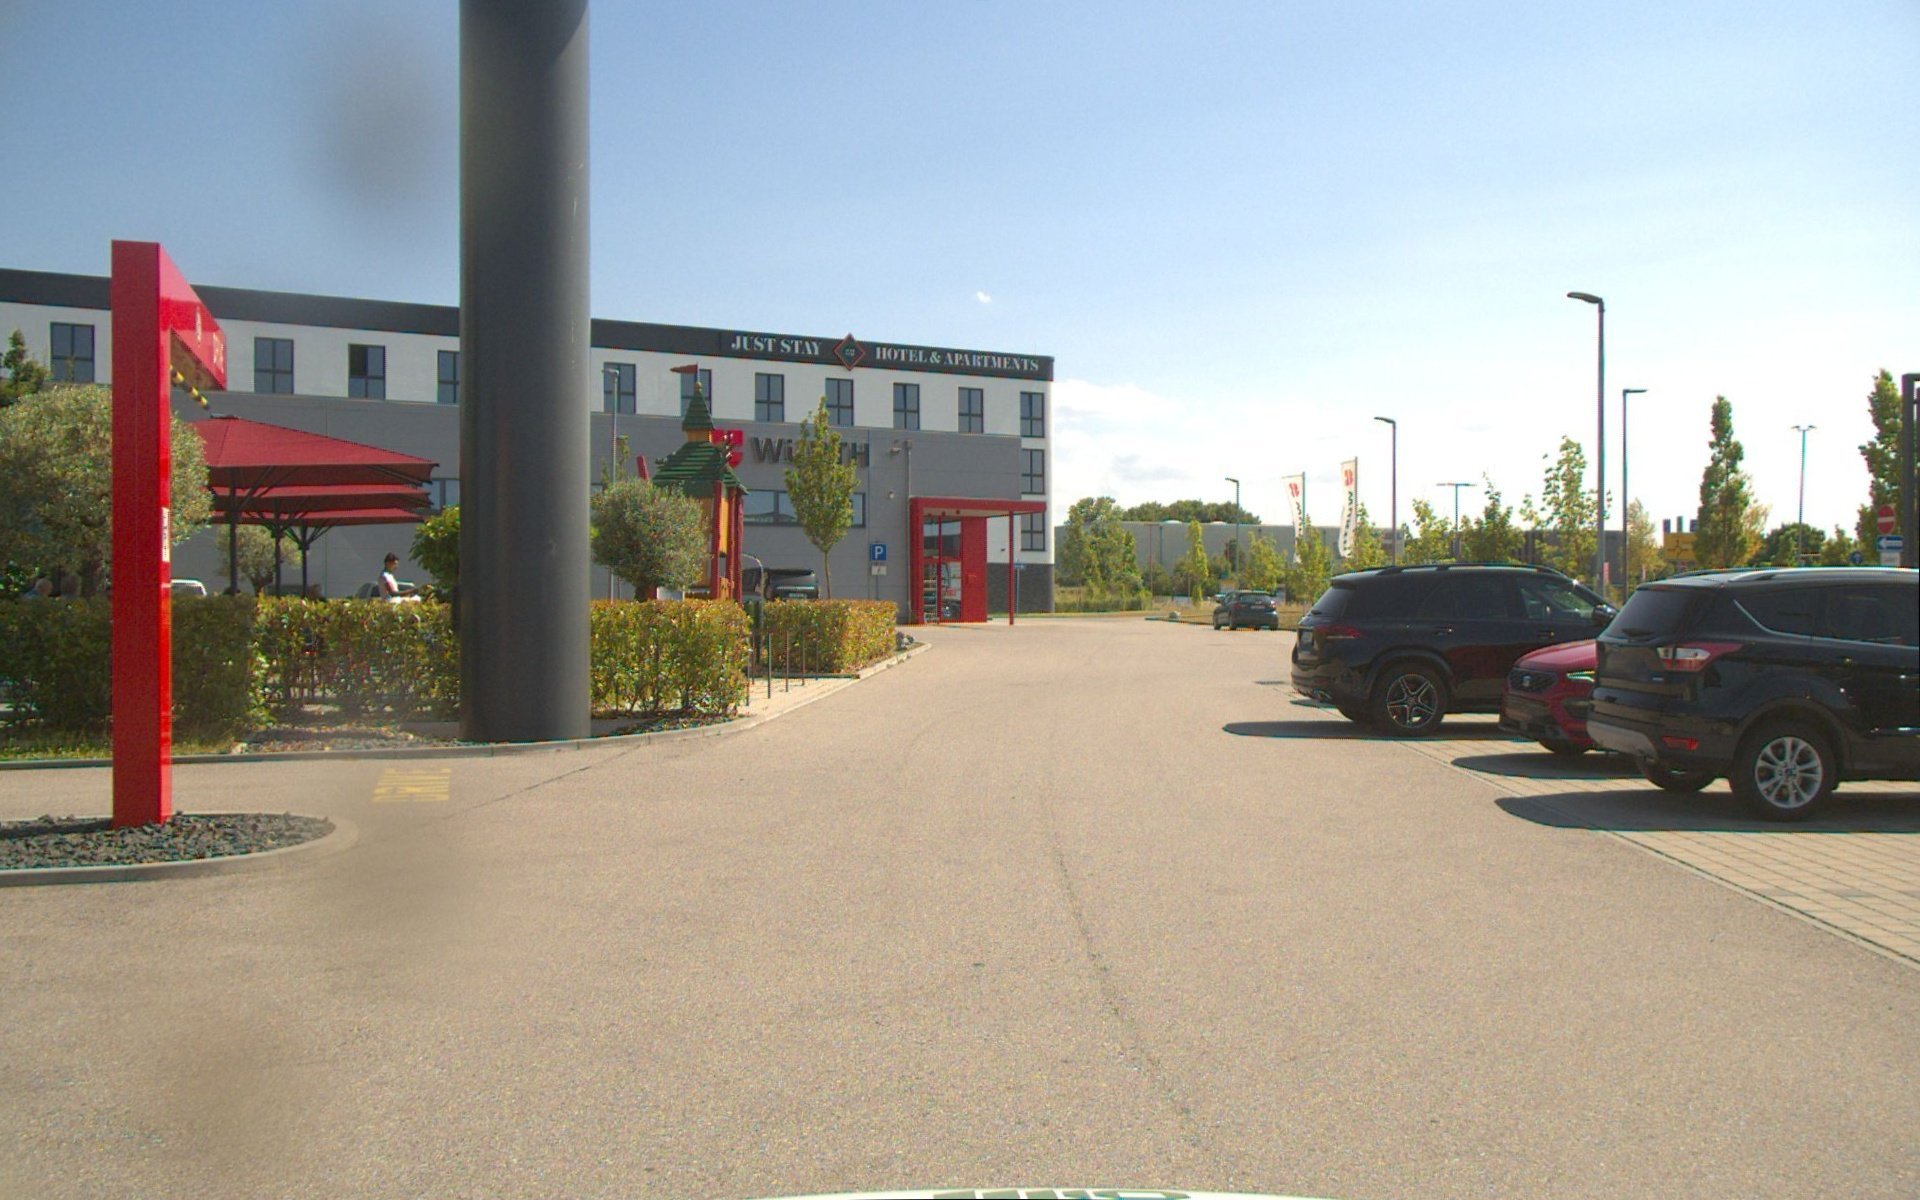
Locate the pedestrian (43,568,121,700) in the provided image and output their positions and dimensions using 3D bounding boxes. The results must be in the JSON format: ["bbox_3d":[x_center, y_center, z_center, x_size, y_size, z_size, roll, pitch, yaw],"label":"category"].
[{"bbox_3d":[-9.445,0.354,17.791,0.645,1.390,0.474,-1,1,-43],"label":"pedestrian"}]

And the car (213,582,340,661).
[{"bbox_3d":[-12.344,0.347,30.052,1.615,1.331,3.826,0,0,-15],"label":"car"}]

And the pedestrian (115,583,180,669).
[{"bbox_3d":[-11.782,0.371,23.994,0.695,1.219,0.615,0,1,-10],"label":"pedestrian"}]

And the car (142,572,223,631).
[{"bbox_3d":[-20.980,0.011,44.556,1.712,1.513,3.913,0,1,-29],"label":"car"}]

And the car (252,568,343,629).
[{"bbox_3d":[-18.413,-0.066,45.849,1.859,1.613,4.069,0,1,-29],"label":"car"}]

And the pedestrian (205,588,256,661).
[{"bbox_3d":[-11.337,0.372,25.715,0.565,1.108,0.544,0,1,-2],"label":"pedestrian"}]

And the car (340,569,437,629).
[{"bbox_3d":[-16.382,-0.066,47.266,1.926,1.613,4.334,0,1,-29],"label":"car"}]

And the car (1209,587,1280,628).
[{"bbox_3d":[10.283,0.264,60.038,1.665,1.431,3.893,0,0,-4],"label":"car"}]

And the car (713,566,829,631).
[{"bbox_3d":[-5.927,-0.098,51.378,2.047,1.913,4.836,0,1,-27],"label":"car"}]

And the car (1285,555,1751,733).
[{"bbox_3d":[6.019,0.459,18.204,4.482,1.791,1.895,1,0,-1],"label":"car"}]

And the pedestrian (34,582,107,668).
[{"bbox_3d":[-12.865,0.353,23.922,0.692,1.219,0.617,0,1,12],"label":"pedestrian"}]

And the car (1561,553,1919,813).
[{"bbox_3d":[6.859,0.573,12.107,4.230,1.732,1.896,1,0,0],"label":"car"}]

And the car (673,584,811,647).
[{"bbox_3d":[-5.296,0.335,39.715,1.842,1.386,4.334,0,1,-29],"label":"car"}]

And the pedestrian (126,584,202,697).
[{"bbox_3d":[-8.701,0.425,18.078,0.645,1.205,0.474,-1,1,-43],"label":"pedestrian"}]

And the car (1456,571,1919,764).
[{"bbox_3d":[6.905,0.584,15.345,3.993,1.637,1.892,1,1,-9],"label":"car"}]

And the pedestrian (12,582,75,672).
[{"bbox_3d":[-12.656,0.361,22.854,0.699,1.219,0.663,0,1,-26],"label":"pedestrian"}]
